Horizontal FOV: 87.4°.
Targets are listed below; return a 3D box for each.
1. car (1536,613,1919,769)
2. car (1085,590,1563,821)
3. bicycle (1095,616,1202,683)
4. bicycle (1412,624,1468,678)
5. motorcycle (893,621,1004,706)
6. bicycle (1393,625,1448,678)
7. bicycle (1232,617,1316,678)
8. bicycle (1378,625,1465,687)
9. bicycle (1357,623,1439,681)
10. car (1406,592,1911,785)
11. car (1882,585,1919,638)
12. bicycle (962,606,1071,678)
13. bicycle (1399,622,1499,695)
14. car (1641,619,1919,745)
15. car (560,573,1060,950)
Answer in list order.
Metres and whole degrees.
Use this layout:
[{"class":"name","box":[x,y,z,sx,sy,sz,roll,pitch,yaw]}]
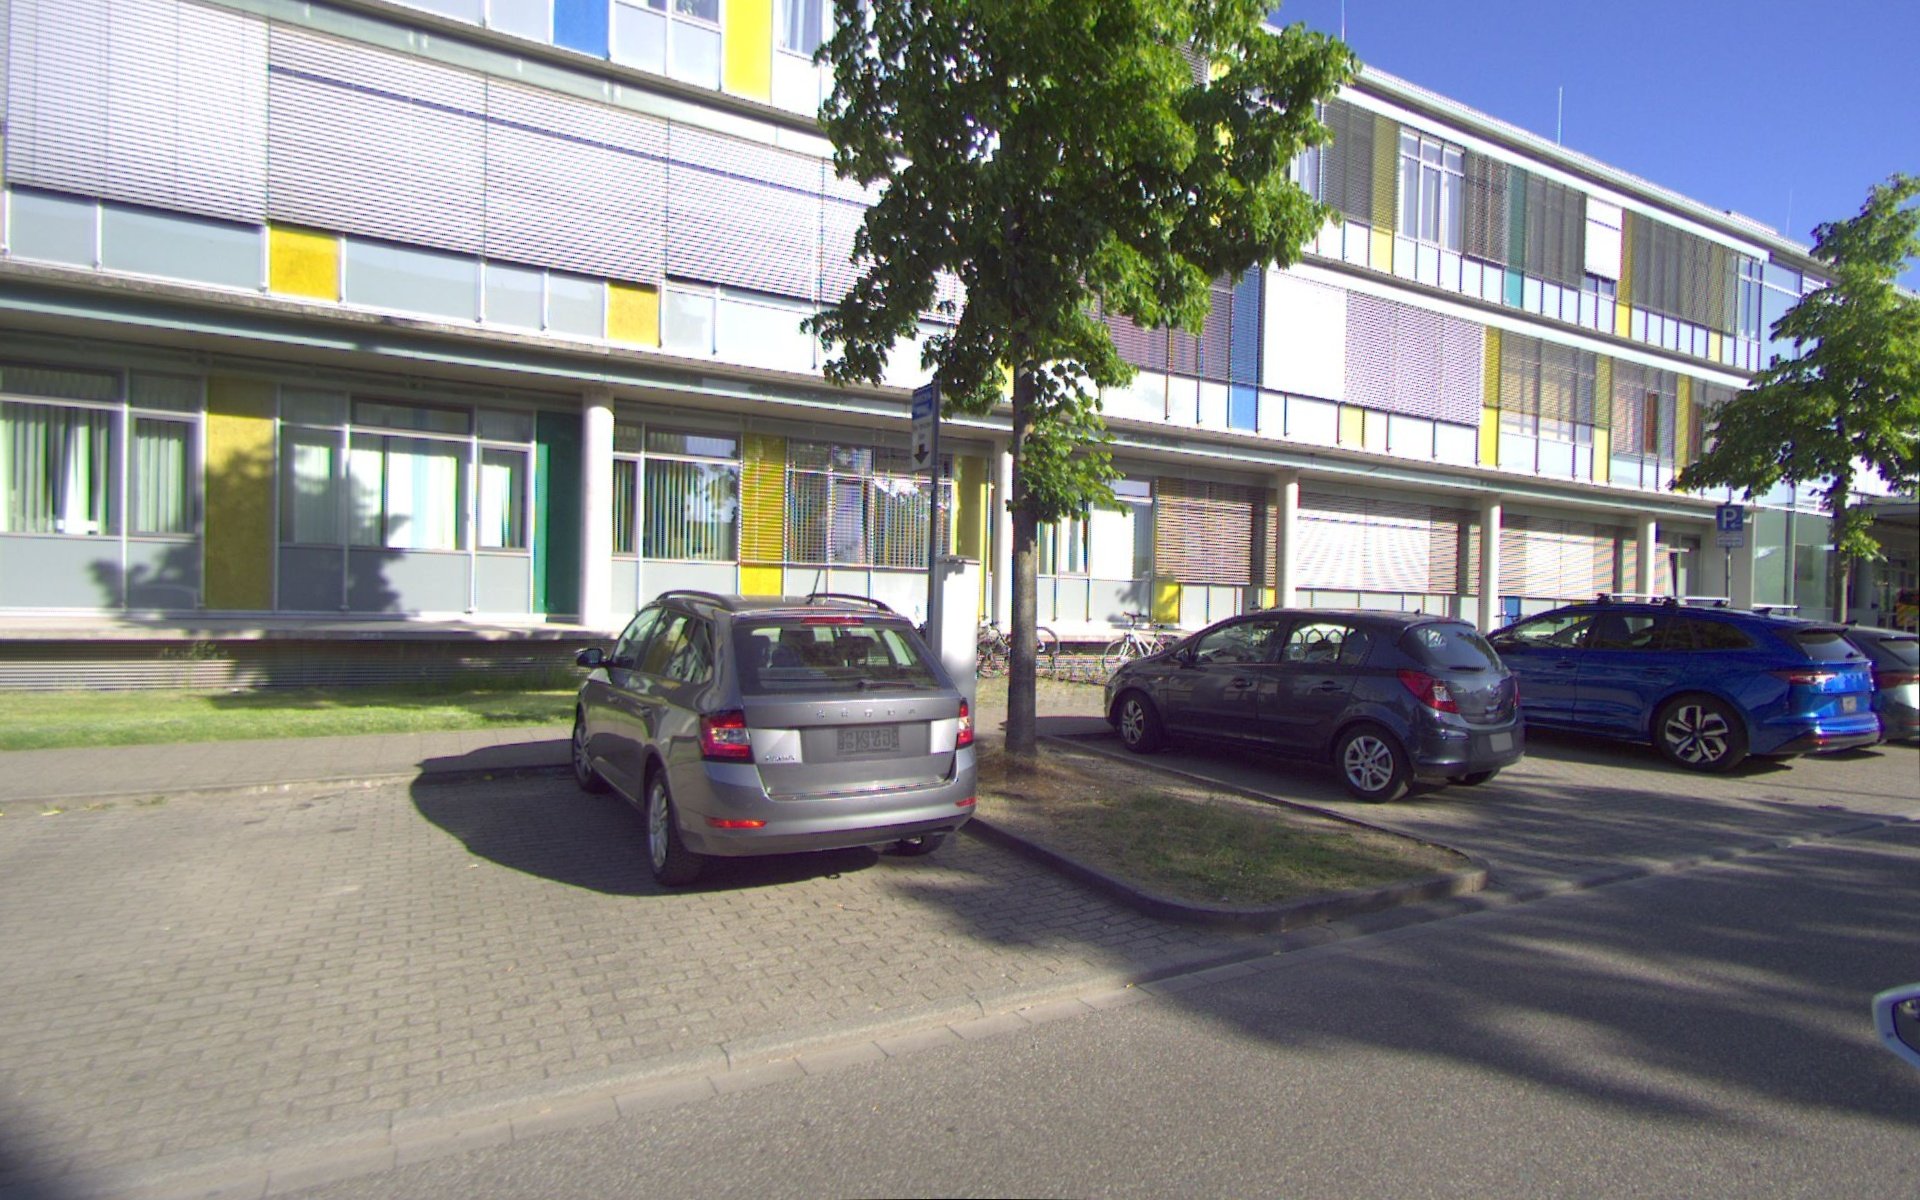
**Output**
[{"class":"car","box":[9.487,0.956,12.225,1.711,1.457,3.967,1,1,-30]},{"class":"car","box":[3.078,0.754,9.158,1.762,1.508,3.714,2,2,-36]},{"class":"bicycle","box":[3.266,0.835,17.339,1.834,1.110,0.643,1,0,-30]},{"class":"bicycle","box":[9.521,0.993,19.898,1.382,1.036,0.350,1,0,-34]},{"class":"motorcycle","box":[-0.172,0.783,12.895,0.616,0.957,1.562,1,1,-36]},{"class":"bicycle","box":[9.302,1.025,20.266,1.382,1.036,0.350,1,0,-34]},{"class":"bicycle","box":[6.187,0.916,19.762,1.834,1.151,0.445,1,0,-30]},{"class":"bicycle","box":[7.976,0.951,17.324,1.759,1.029,0.425,1,0,-30]},{"class":"bicycle","box":[8.217,0.963,18.835,1.759,1.029,0.445,1,0,-30]},{"class":"car","box":[7.464,0.785,11.207,1.937,1.673,4.200,1,1,-30]},{"class":"car","box":[36.845,0.440,37.712,4.654,1.916,1.911,1,0,-29]},{"class":"bicycle","box":[0.993,0.717,17.503,1.834,1.215,0.643,1,0,-30]},{"class":"bicycle","box":[8.205,0.955,16.830,1.759,1.158,0.632,1,0,-30]},{"class":"car","box":[11.732,1.017,13.359,1.732,1.486,4.113,1,-1,-29]},{"class":"car","box":[-1.273,0.657,6.373,1.802,1.508,3.962,2,2,-30]}]
